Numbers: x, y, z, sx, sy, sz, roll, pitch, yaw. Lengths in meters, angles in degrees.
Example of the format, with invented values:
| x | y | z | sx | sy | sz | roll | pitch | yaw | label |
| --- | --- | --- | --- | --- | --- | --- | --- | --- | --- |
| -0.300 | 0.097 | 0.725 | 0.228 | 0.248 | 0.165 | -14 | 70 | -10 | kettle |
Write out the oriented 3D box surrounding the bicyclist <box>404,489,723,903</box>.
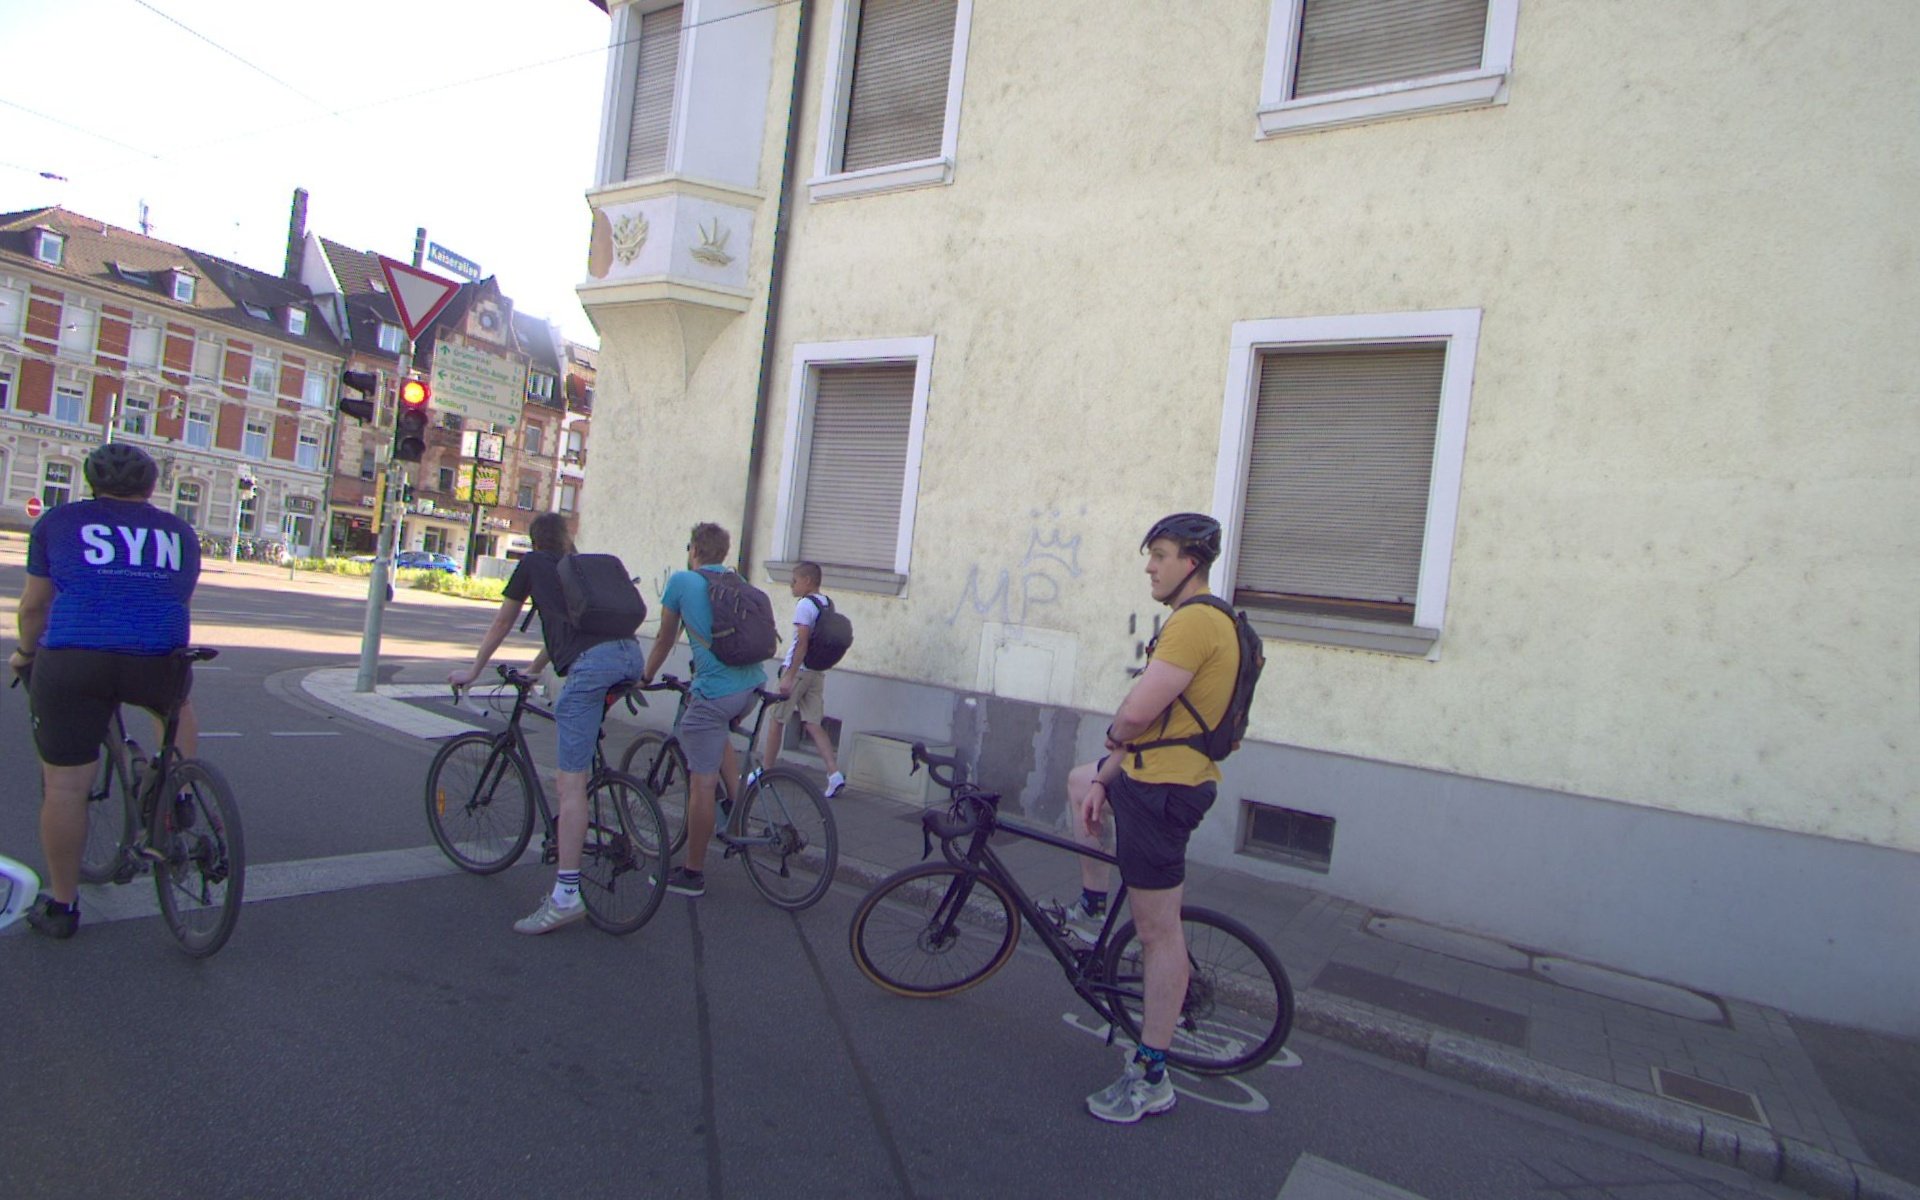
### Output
| x | y | z | sx | sy | sz | roll | pitch | yaw | label |
| --- | --- | --- | --- | --- | --- | --- | --- | --- | --- |
| -1.780 | 0.396 | 4.575 | 0.868 | 1.625 | 0.807 | 7 | -1 | 30 | bicyclist |

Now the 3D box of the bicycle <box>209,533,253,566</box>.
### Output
| x | y | z | sx | sy | sz | roll | pitch | yaw | label |
| --- | --- | --- | --- | --- | --- | --- | --- | --- | --- |
| -33.832 | -2.342 | 46.692 | 2.618 | 1.301 | 0.629 | 6 | -1 | 33 | bicycle |

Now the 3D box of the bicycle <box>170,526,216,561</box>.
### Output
| x | y | z | sx | sy | sz | roll | pitch | yaw | label |
| --- | --- | --- | --- | --- | --- | --- | --- | --- | --- |
| -34.626 | -2.555 | 45.385 | 2.618 | 1.301 | 0.693 | 6 | -1 | 33 | bicycle |

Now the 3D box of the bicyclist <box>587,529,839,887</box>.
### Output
| x | y | z | sx | sy | sz | roll | pitch | yaw | label |
| --- | --- | --- | --- | --- | --- | --- | --- | --- | --- |
| -1.284 | 0.524 | 5.259 | 0.869 | 1.652 | 0.690 | 6 | -1 | 34 | bicyclist |

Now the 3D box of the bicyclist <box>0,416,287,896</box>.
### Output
| x | y | z | sx | sy | sz | roll | pitch | yaw | label |
| --- | --- | --- | --- | --- | --- | --- | --- | --- | --- |
| -3.087 | 0.163 | 3.657 | 0.869 | 1.512 | 0.639 | 9 | 0 | 36 | bicyclist |

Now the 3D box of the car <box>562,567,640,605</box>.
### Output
| x | y | z | sx | sy | sz | roll | pitch | yaw | label |
| --- | --- | --- | --- | --- | --- | --- | --- | --- | --- |
| -23.249 | -0.871 | 65.286 | 1.967 | 1.798 | 4.374 | 6 | -2 | 31 | car |

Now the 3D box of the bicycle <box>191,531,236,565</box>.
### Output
| x | y | z | sx | sy | sz | roll | pitch | yaw | label |
| --- | --- | --- | --- | --- | --- | --- | --- | --- | --- |
| -34.199 | -2.408 | 46.067 | 2.618 | 1.301 | 0.693 | 6 | -1 | 33 | bicycle |

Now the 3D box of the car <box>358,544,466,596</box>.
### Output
| x | y | z | sx | sy | sz | roll | pitch | yaw | label |
| --- | --- | --- | --- | --- | --- | --- | --- | --- | --- |
| -25.478 | -1.358 | 46.906 | 1.967 | 1.798 | 3.790 | 6 | -2 | 31 | car |

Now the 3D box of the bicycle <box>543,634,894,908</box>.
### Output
| x | y | z | sx | sy | sz | roll | pitch | yaw | label |
| --- | --- | --- | --- | --- | --- | --- | --- | --- | --- |
| -1.293 | 0.813 | 5.247 | 1.742 | 1.043 | 0.650 | 6 | -1 | 33 | bicycle |

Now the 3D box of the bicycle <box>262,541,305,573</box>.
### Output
| x | y | z | sx | sy | sz | roll | pitch | yaw | label |
| --- | --- | --- | --- | --- | --- | --- | --- | --- | --- |
| -32.684 | -2.073 | 48.582 | 2.618 | 1.301 | 0.629 | 6 | -1 | 33 | bicycle |

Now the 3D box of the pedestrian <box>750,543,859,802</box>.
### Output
| x | y | z | sx | sy | sz | roll | pitch | yaw | label |
| --- | --- | --- | --- | --- | --- | --- | --- | --- | --- |
| -1.119 | 0.505 | 7.331 | 0.631 | 1.780 | 0.584 | 4 | 3 | -7 | pedestrian |

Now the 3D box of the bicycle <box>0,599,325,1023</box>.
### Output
| x | y | z | sx | sy | sz | roll | pitch | yaw | label |
| --- | --- | --- | --- | --- | --- | --- | --- | --- | --- |
| -3.083 | 0.631 | 3.634 | 1.676 | 1.097 | 0.627 | 6 | -1 | 35 | bicycle |

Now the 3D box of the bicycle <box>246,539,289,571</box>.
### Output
| x | y | z | sx | sy | sz | roll | pitch | yaw | label |
| --- | --- | --- | --- | --- | --- | --- | --- | --- | --- |
| -33.054 | -2.150 | 47.993 | 2.618 | 1.301 | 0.629 | 6 | -1 | 33 | bicycle |

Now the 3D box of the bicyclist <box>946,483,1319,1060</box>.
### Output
| x | y | z | sx | sy | sz | roll | pitch | yaw | label |
| --- | --- | --- | --- | --- | --- | --- | --- | --- | --- |
| 0.629 | 0.515 | 3.535 | 0.869 | 1.682 | 0.807 | 6 | -1 | 32 | bicyclist |

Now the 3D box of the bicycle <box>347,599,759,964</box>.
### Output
| x | y | z | sx | sy | sz | roll | pitch | yaw | label |
| --- | --- | --- | --- | --- | --- | --- | --- | --- | --- |
| -1.881 | 0.730 | 4.602 | 1.674 | 1.251 | 0.756 | 6 | -1 | 30 | bicycle |

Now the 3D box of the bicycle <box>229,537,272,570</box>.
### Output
| x | y | z | sx | sy | sz | roll | pitch | yaw | label |
| --- | --- | --- | --- | --- | --- | --- | --- | --- | --- |
| -33.421 | -2.212 | 47.363 | 2.618 | 1.301 | 0.629 | 6 | -1 | 33 | bicycle |

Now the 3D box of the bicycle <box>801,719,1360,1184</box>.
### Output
| x | y | z | sx | sy | sz | roll | pitch | yaw | label |
| --- | --- | --- | --- | --- | --- | --- | --- | --- | --- |
| 0.393 | 1.085 | 3.633 | 1.751 | 1.043 | 0.756 | 6 | -2 | 33 | bicycle |
